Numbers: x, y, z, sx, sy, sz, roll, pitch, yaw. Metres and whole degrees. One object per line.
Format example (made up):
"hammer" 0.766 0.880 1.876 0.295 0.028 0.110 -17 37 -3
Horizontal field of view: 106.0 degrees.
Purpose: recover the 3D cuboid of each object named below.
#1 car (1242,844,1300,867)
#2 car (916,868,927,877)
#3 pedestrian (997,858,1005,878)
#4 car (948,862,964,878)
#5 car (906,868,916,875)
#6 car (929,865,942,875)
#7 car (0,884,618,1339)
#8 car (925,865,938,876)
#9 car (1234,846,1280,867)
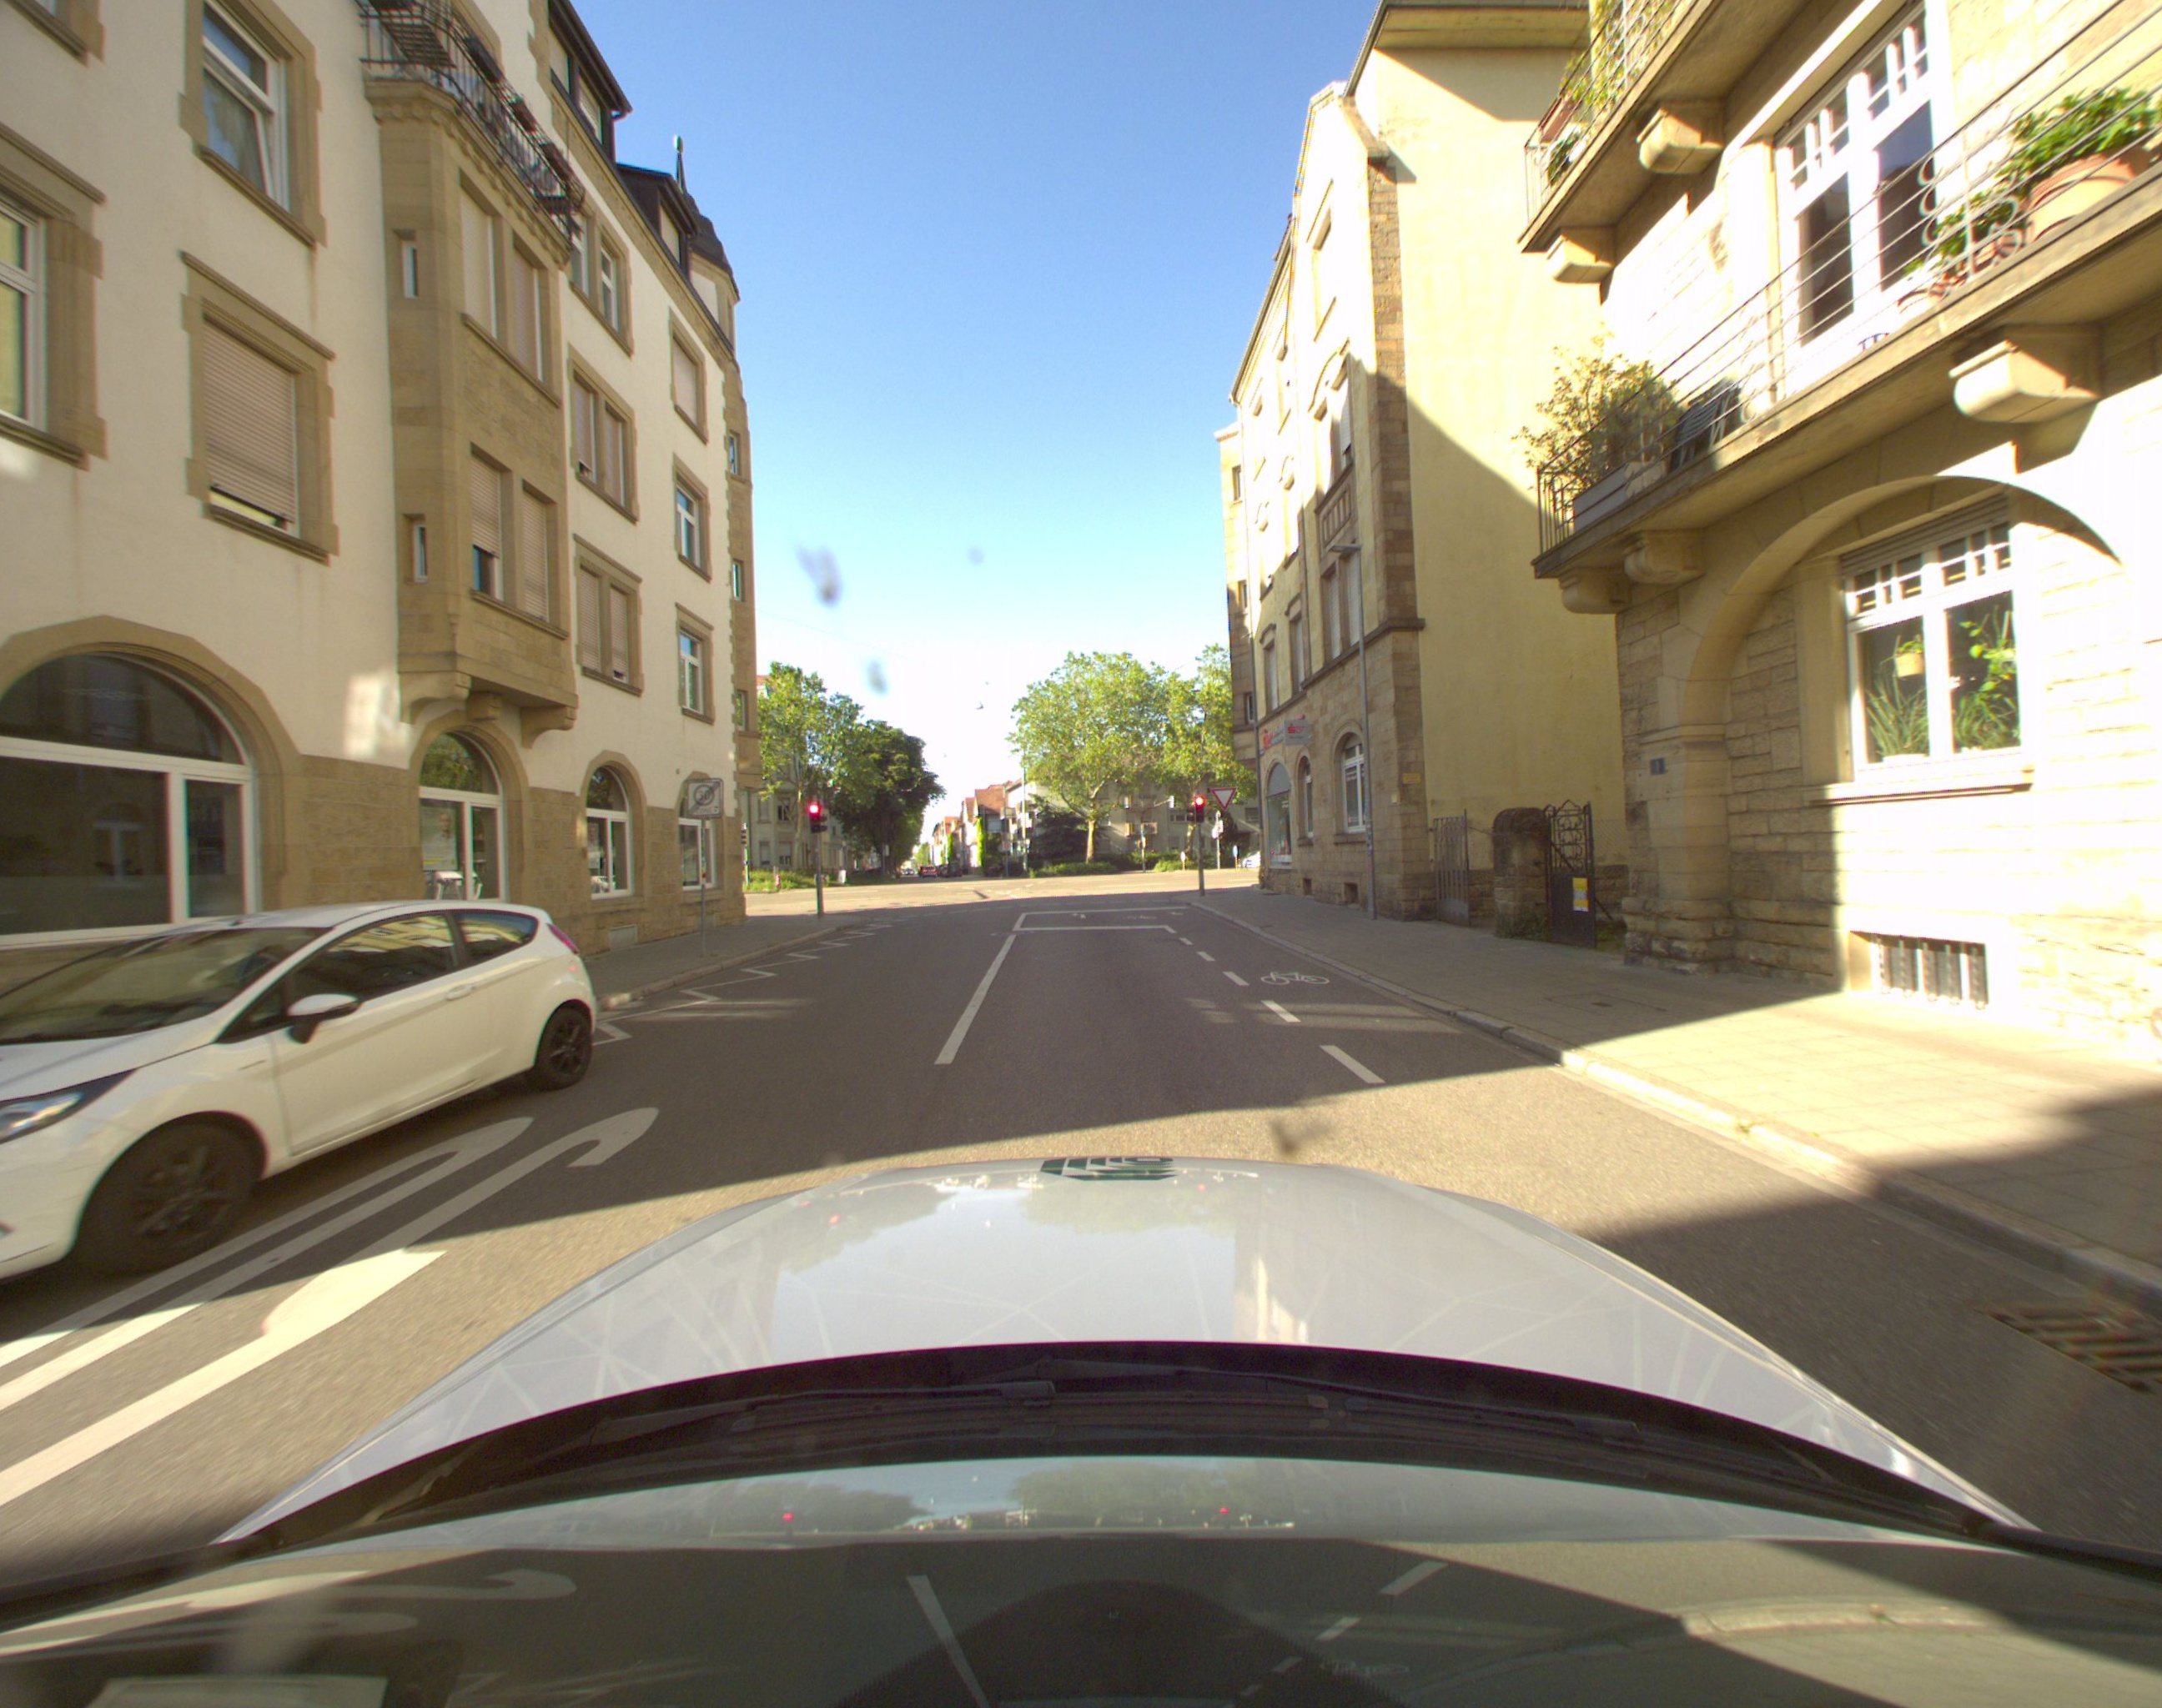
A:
"car" 13.883 0.088 59.440 3.800 1.472 1.619 -3 0 -20
"car" -26.505 3.021 135.296 1.740 1.336 3.816 -3 0 -13
"pedestrian" -7.167 1.225 72.862 0.632 1.750 0.658 -1 -1 -4
"car" -16.497 2.120 107.324 1.993 2.013 3.987 -3 0 -10
"car" -35.659 3.652 170.889 1.997 1.445 3.980 -3 0 -14
"car" -28.163 3.052 157.643 1.998 1.832 3.978 -1 -1 -16
"car" -4.586 1.002 4.645 1.628 1.464 3.735 -2 0 1
"car" -21.142 2.307 114.864 1.675 1.483 3.507 -1 -1 -12
"car" 14.325 0.207 66.218 3.393 1.487 1.514 -3 0 -22
